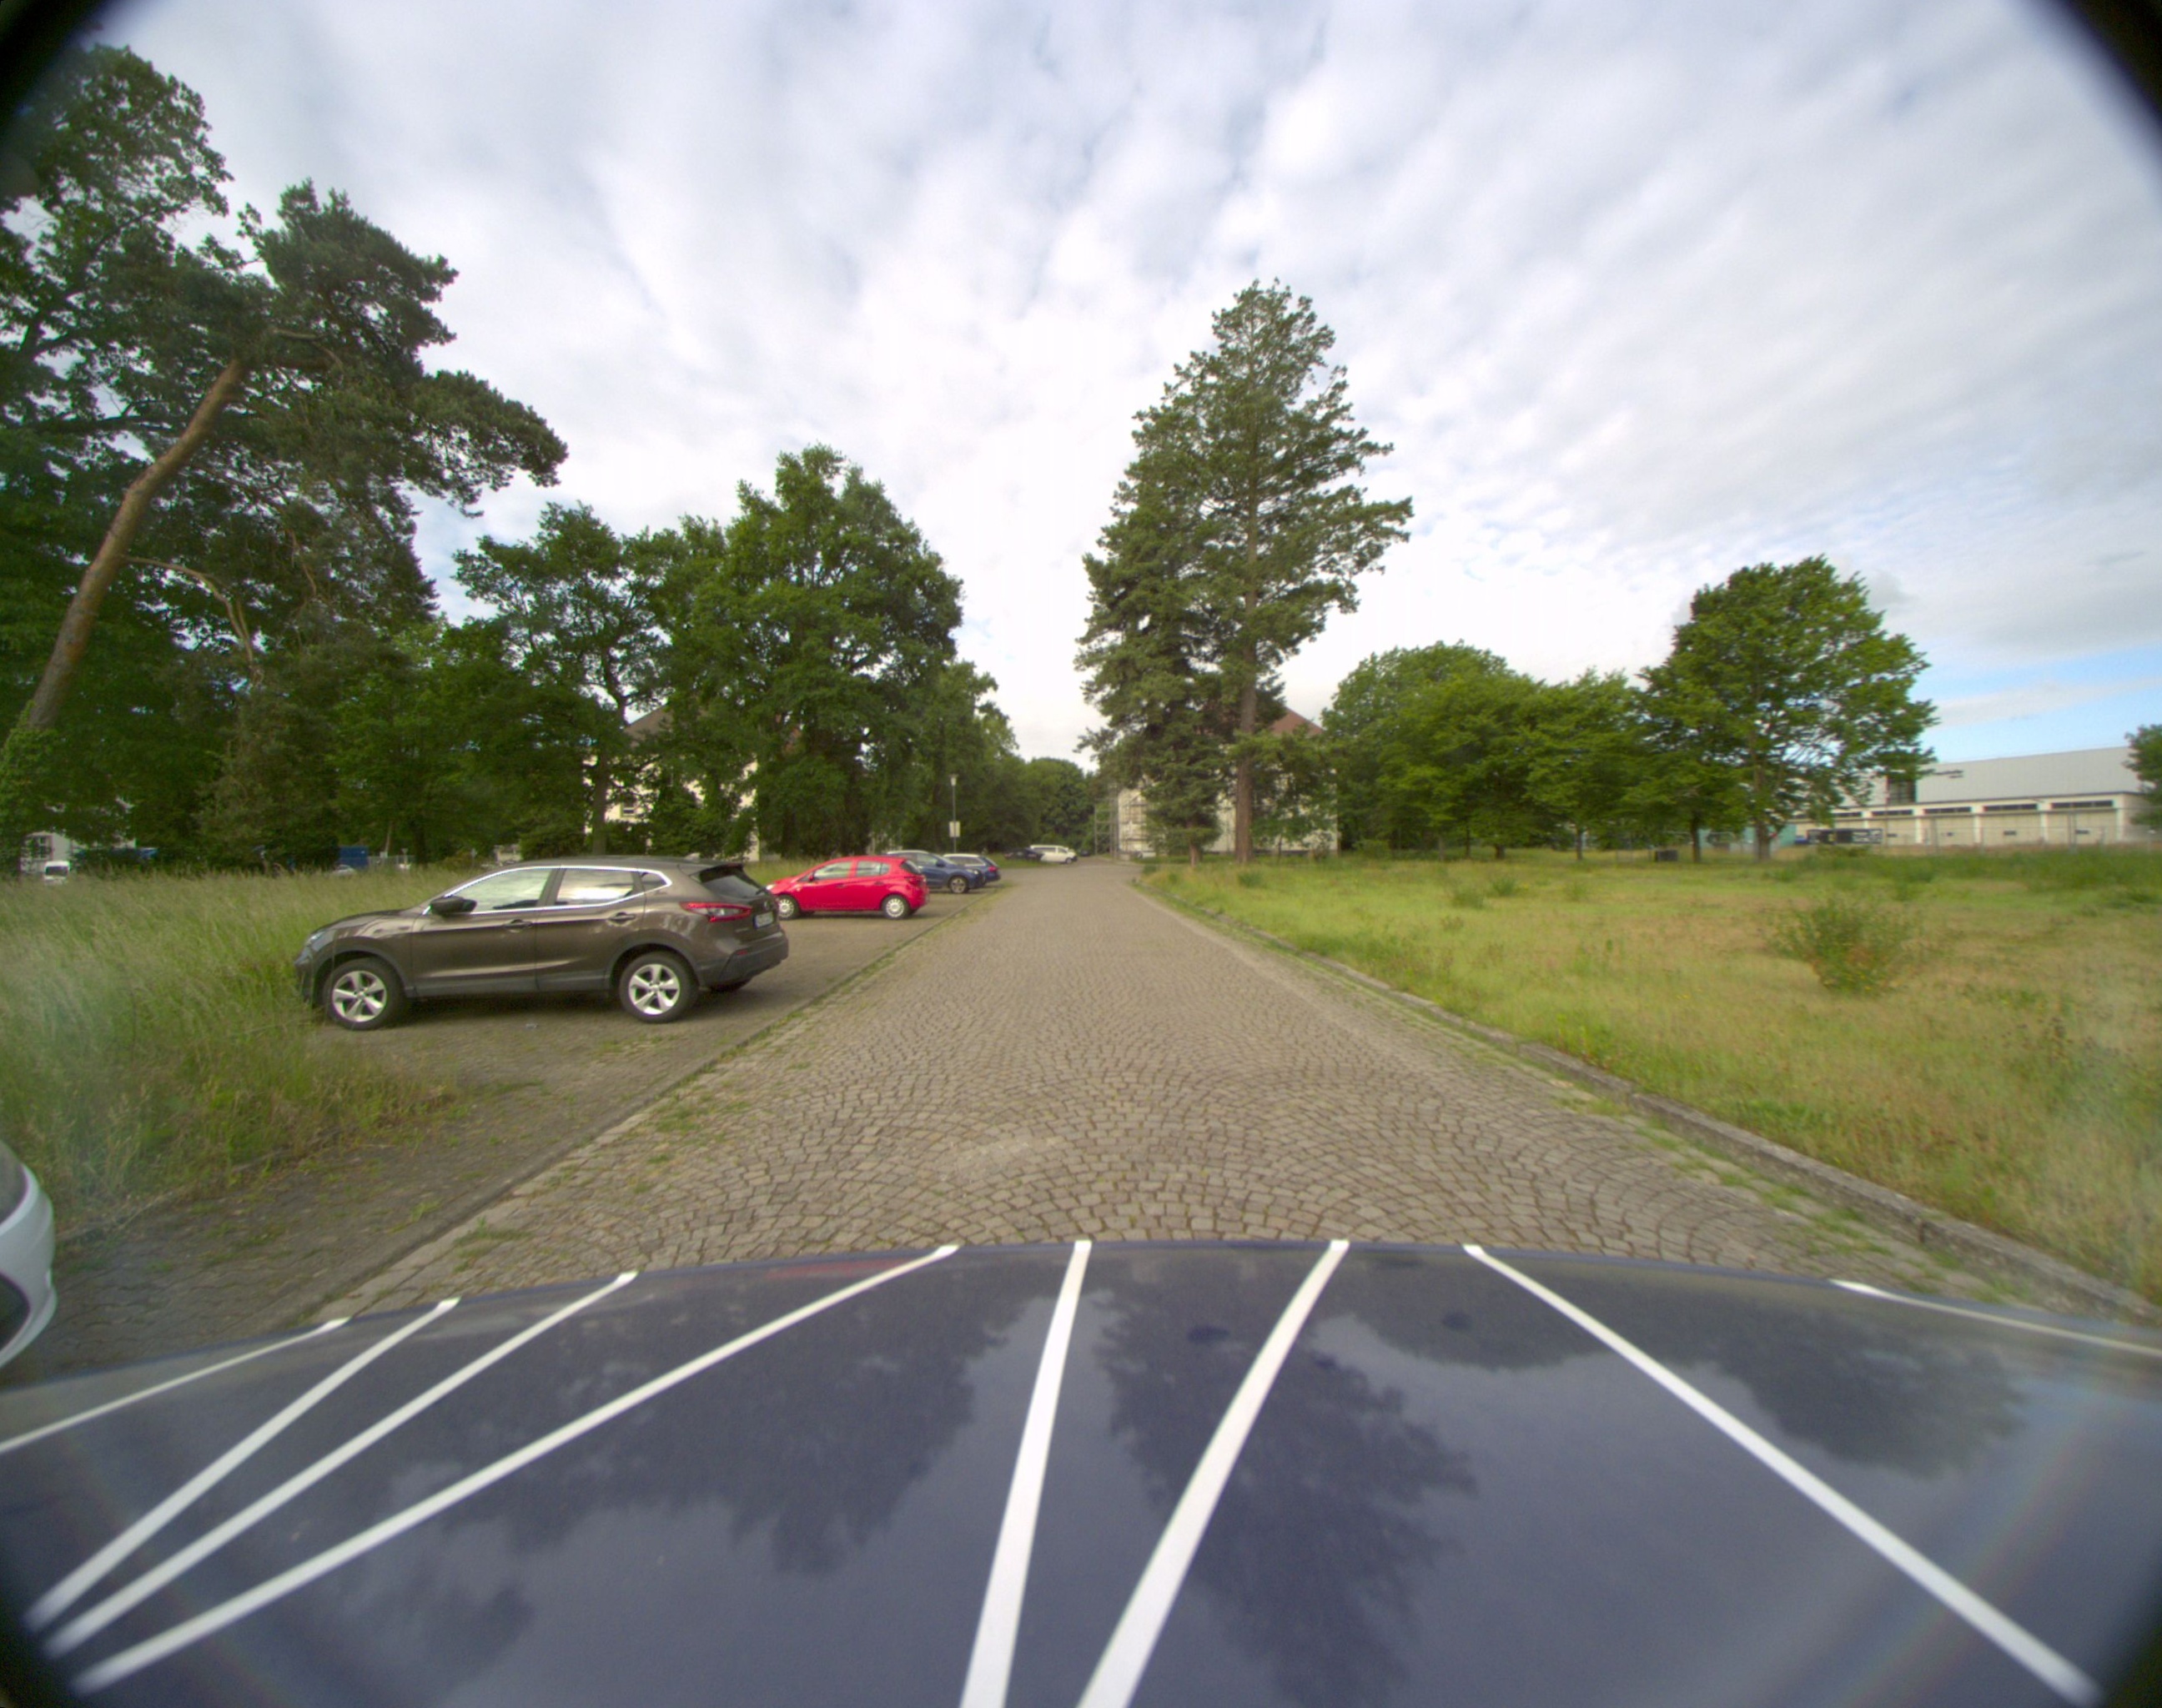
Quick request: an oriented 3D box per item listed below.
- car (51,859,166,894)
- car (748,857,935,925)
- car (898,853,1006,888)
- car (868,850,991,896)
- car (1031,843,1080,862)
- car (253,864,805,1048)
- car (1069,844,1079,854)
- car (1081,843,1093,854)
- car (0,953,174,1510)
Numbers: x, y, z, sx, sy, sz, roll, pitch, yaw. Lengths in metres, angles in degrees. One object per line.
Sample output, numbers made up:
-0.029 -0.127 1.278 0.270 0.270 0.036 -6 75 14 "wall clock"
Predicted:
-69.711 1.533 54.624 1.922 2.291 4.939 -1 1 -1 "car"
-5.617 0.837 18.195 3.934 1.488 1.784 0 1 -3 "car"
-5.579 0.713 33.241 4.368 1.431 1.926 0 1 1 "car"
-5.589 0.683 28.499 4.256 1.613 1.886 0 1 -3 "car"
-2.755 -0.165 82.103 5.150 2.002 1.999 0 1 -1 "car"
-5.333 0.931 7.897 4.215 1.586 1.952 0 1 -3 "car"
-1.369 -0.989 148.308 1.963 2.002 4.259 -1 1 -2 "car"
1.161 -1.045 148.609 1.963 2.002 4.259 -1 1 -2 "car"
-4.981 1.075 1.480 4.109 1.470 1.721 0 1 -4 "car"
